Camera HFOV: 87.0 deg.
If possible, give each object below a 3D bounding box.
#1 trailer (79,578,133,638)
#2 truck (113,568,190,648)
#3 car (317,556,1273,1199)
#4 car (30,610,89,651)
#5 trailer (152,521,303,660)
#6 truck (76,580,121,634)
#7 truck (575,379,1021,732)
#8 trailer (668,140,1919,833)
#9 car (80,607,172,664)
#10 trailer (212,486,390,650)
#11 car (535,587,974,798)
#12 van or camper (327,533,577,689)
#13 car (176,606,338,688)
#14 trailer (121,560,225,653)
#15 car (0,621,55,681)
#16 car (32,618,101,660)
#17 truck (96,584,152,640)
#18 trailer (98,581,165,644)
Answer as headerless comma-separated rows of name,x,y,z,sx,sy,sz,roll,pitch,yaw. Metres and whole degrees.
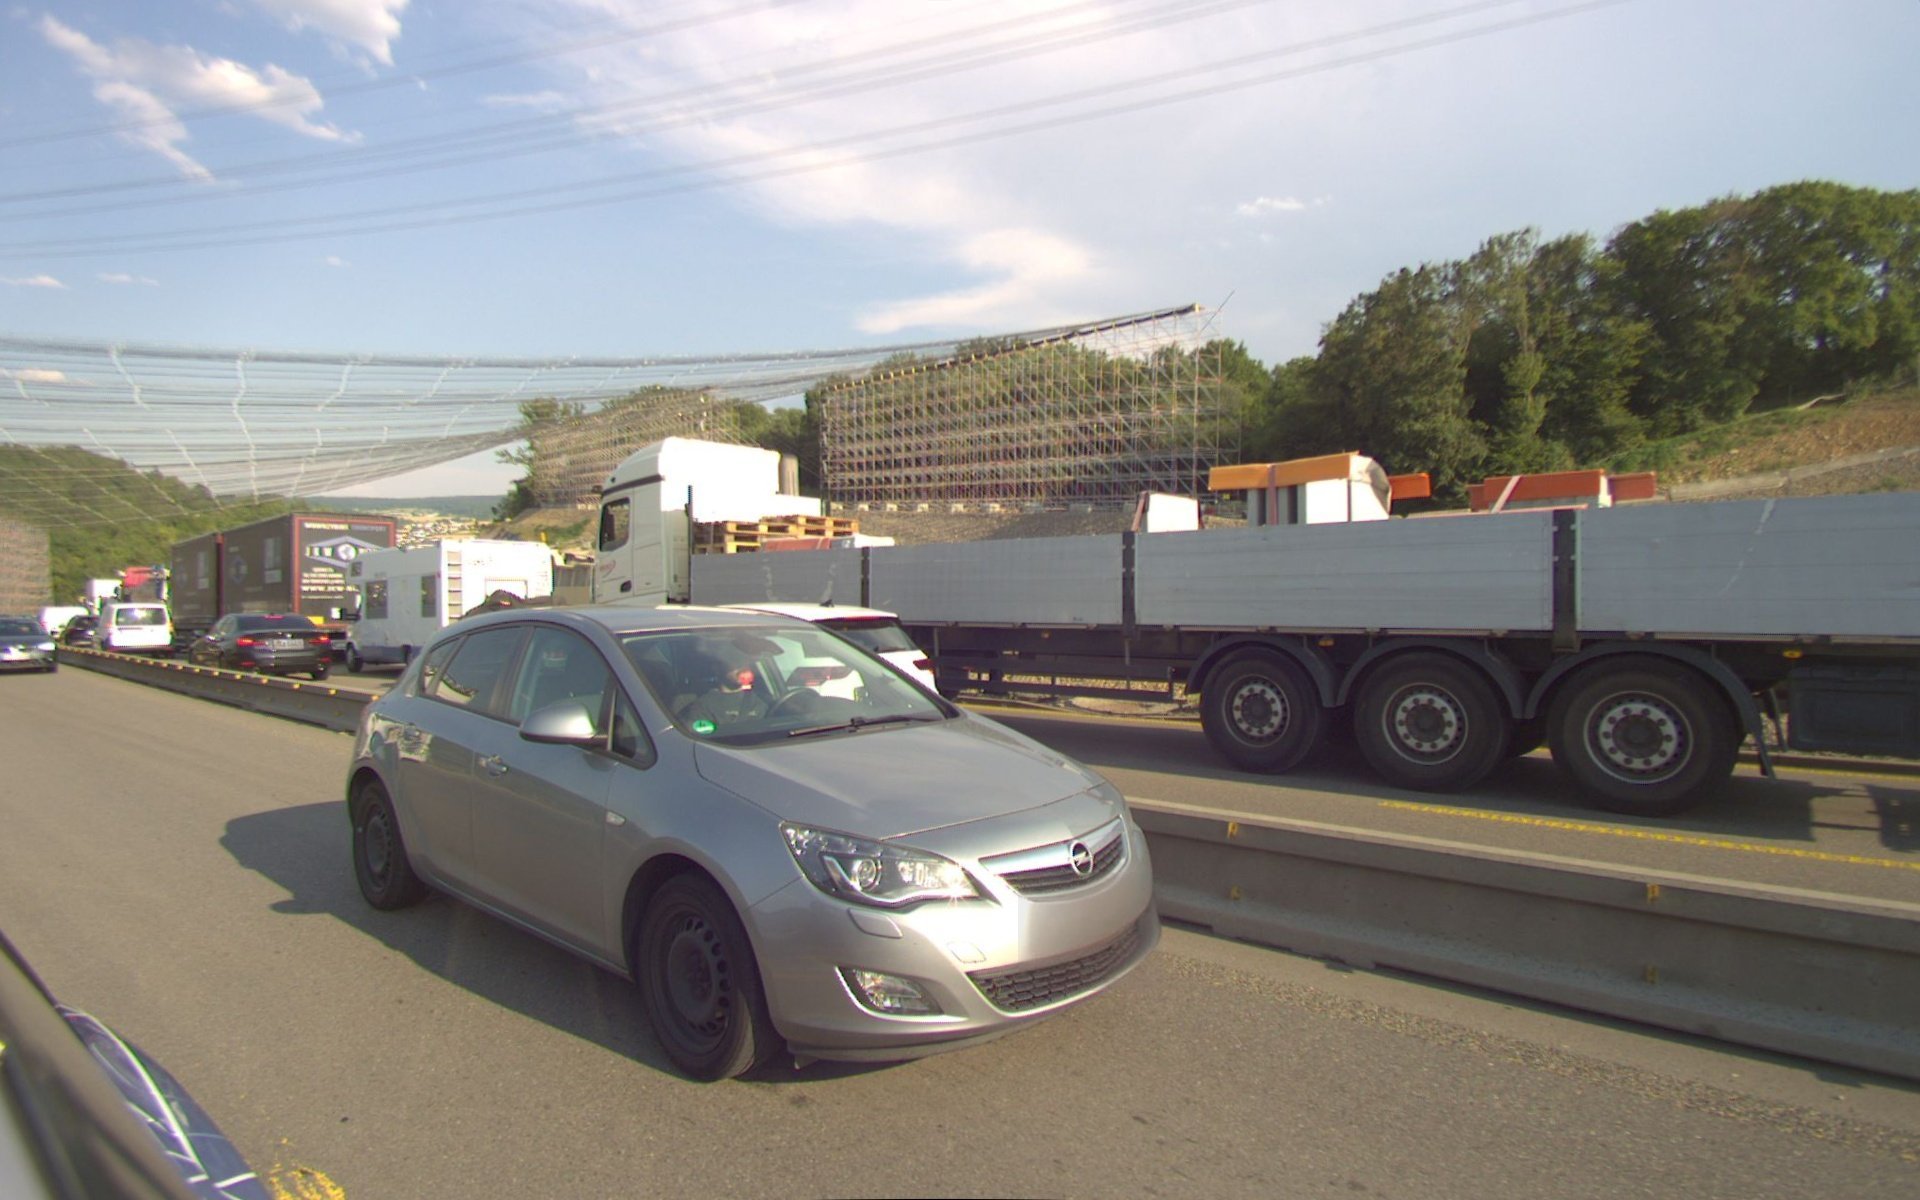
trailer,-62.089,0.615,73.435,2.399,3.993,14.113,0,-1,-43
truck,-40.596,0.399,50.744,5.620,3.813,2.405,-1,-1,45
car,-1.089,0.664,4.384,4.351,1.484,1.737,-1,0,42
car,-44.620,1.469,50.095,4.837,1.940,1.797,-1,-1,43
trailer,-26.476,-0.260,36.292,10.511,4.361,2.449,-1,-1,43
truck,-66.934,0.546,78.589,2.444,4.076,5.623,0,-1,-43
truck,-2.511,-0.450,13.977,6.515,3.782,2.573,-1,-1,42
trailer,2.238,-0.568,9.712,13.970,3.753,2.493,-1,-1,41
car,-26.940,1.097,32.644,4.454,1.708,1.737,-1,-1,43
trailer,-19.562,-0.779,29.758,8.544,4.220,2.416,-1,-1,43
car,-2.058,0.688,9.358,4.251,1.519,1.741,-1,0,40
van or camper,-11.462,0.238,22.420,7.616,2.913,2.382,-1,-1,42
car,-14.817,0.910,21.227,4.584,1.523,1.774,-1,0,42
trailer,-36.498,0.310,46.704,12.058,3.819,2.280,-1,-1,45
car,-24.337,1.255,25.737,3.824,1.394,1.740,-1,-1,45
car,-35.105,1.488,39.730,4.604,1.490,1.661,-1,-1,44
truck,-52.730,0.739,63.774,2.385,3.395,5.623,0,-1,-43
trailer,-48.781,0.724,59.437,2.279,3.387,12.065,0,-1,-43
